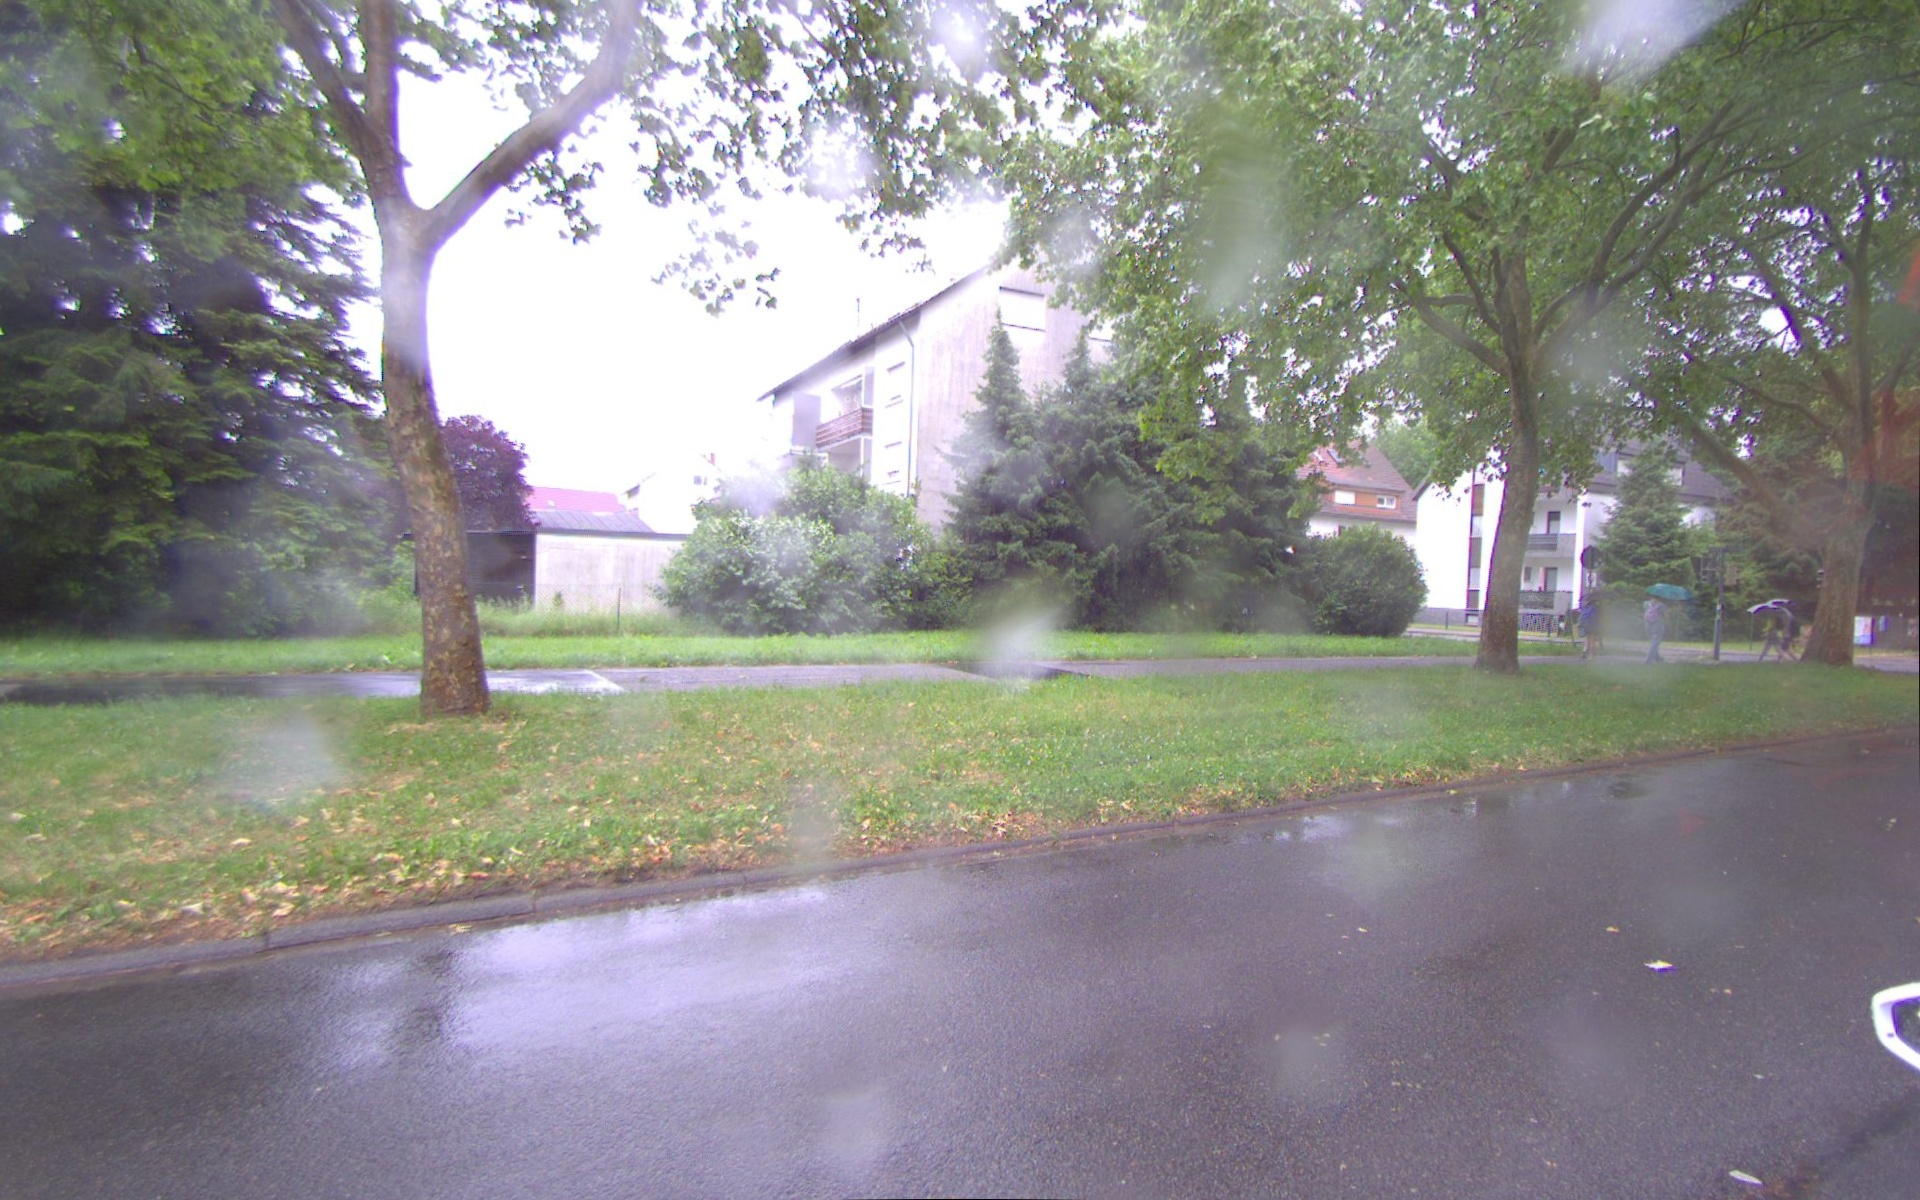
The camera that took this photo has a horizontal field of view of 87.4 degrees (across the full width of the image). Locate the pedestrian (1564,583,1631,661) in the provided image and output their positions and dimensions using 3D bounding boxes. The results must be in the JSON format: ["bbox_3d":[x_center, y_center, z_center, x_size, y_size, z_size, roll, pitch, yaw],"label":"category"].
[{"bbox_3d":[15.107,0.503,23.805,0.869,1.789,1.028,1,1,-30],"label":"pedestrian"}]

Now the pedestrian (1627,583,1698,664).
[{"bbox_3d":[15.839,0.513,22.661,0.828,1.789,1.028,1,1,-30],"label":"pedestrian"}]

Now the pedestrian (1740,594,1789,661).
[{"bbox_3d":[21.799,0.736,27.225,0.633,1.768,0.815,1,1,-33],"label":"pedestrian"}]

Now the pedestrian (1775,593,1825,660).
[{"bbox_3d":[23.119,0.719,27.642,0.633,1.768,0.854,1,1,-33],"label":"pedestrian"}]
